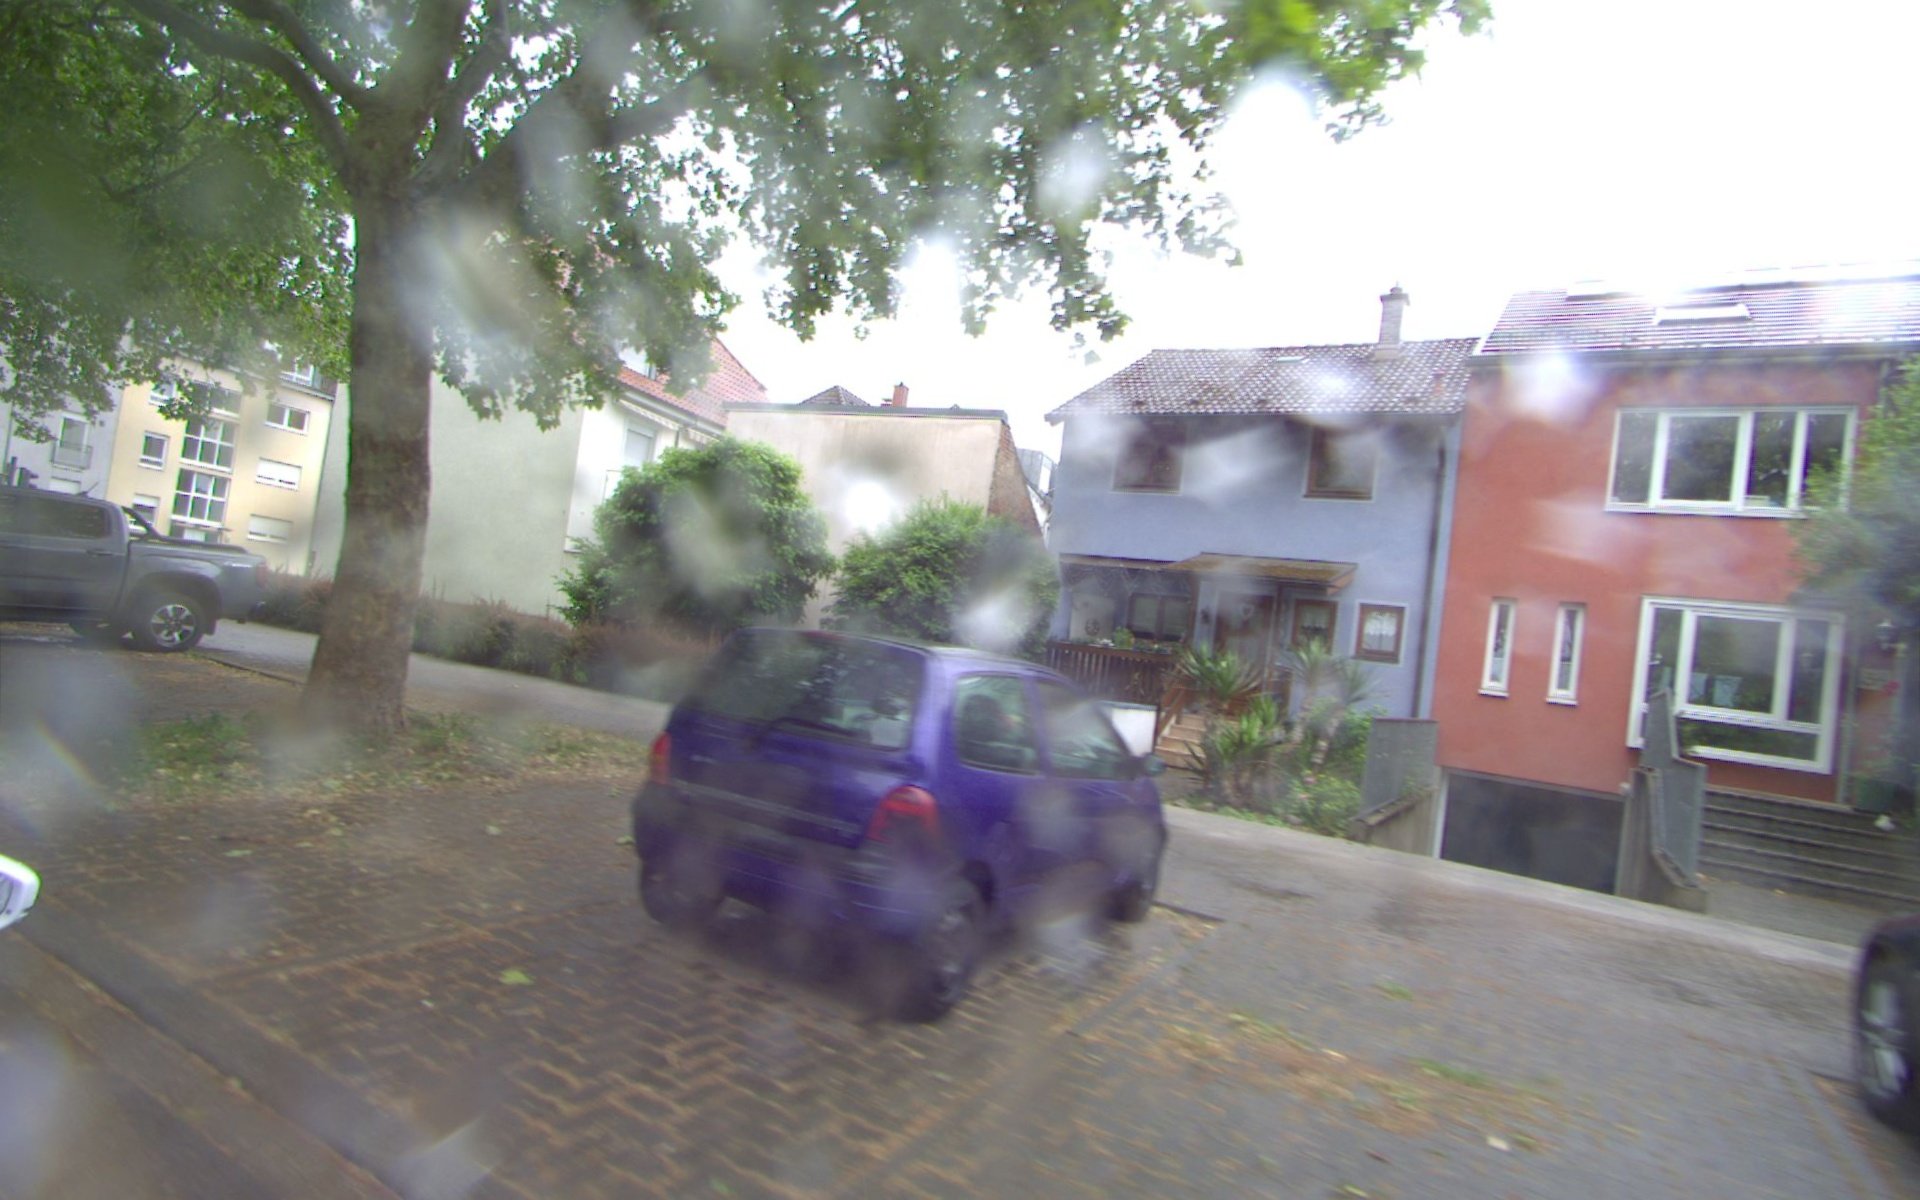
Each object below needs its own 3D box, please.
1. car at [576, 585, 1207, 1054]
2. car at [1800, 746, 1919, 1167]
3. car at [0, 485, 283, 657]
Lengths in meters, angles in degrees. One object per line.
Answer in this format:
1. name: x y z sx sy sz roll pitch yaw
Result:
1. car: -0.030 0.928 5.323 1.591 1.480 3.364 6 -3 30
2. car: 4.016 1.336 2.400 1.903 1.490 4.780 7 -2 27
3. car: -11.336 -0.422 11.788 1.812 1.828 5.355 6 -2 25
